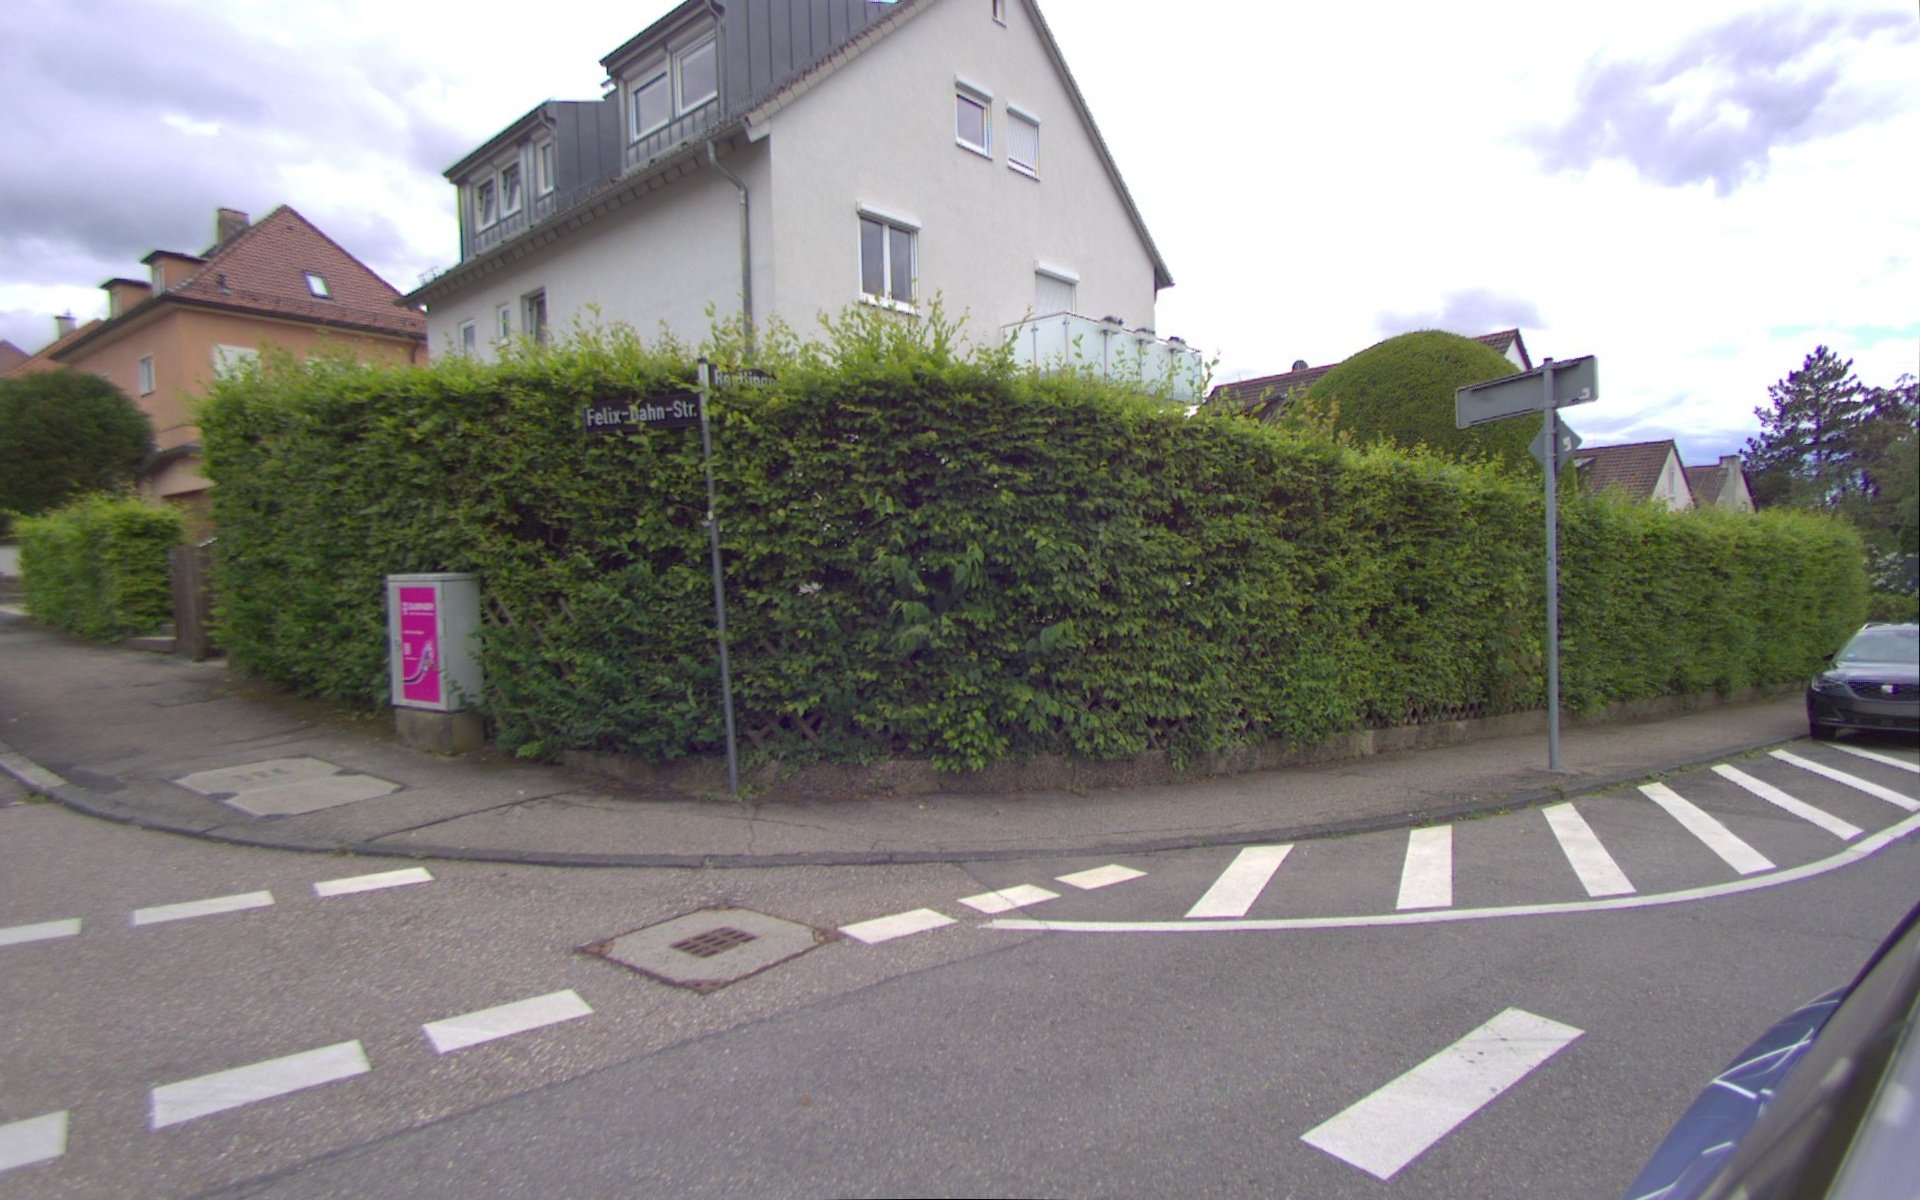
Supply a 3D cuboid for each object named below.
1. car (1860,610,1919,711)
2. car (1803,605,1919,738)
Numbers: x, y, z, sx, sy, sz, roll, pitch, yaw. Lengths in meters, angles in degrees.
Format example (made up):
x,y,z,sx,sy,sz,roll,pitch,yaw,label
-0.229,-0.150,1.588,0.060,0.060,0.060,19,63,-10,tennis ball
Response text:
x,y,z,sx,sy,sz,roll,pitch,yaw,label
16.817,0.976,16.696,5.110,1.513,1.929,1,0,-36,car
12.744,0.879,13.251,4.299,1.507,1.794,1,0,-39,car
